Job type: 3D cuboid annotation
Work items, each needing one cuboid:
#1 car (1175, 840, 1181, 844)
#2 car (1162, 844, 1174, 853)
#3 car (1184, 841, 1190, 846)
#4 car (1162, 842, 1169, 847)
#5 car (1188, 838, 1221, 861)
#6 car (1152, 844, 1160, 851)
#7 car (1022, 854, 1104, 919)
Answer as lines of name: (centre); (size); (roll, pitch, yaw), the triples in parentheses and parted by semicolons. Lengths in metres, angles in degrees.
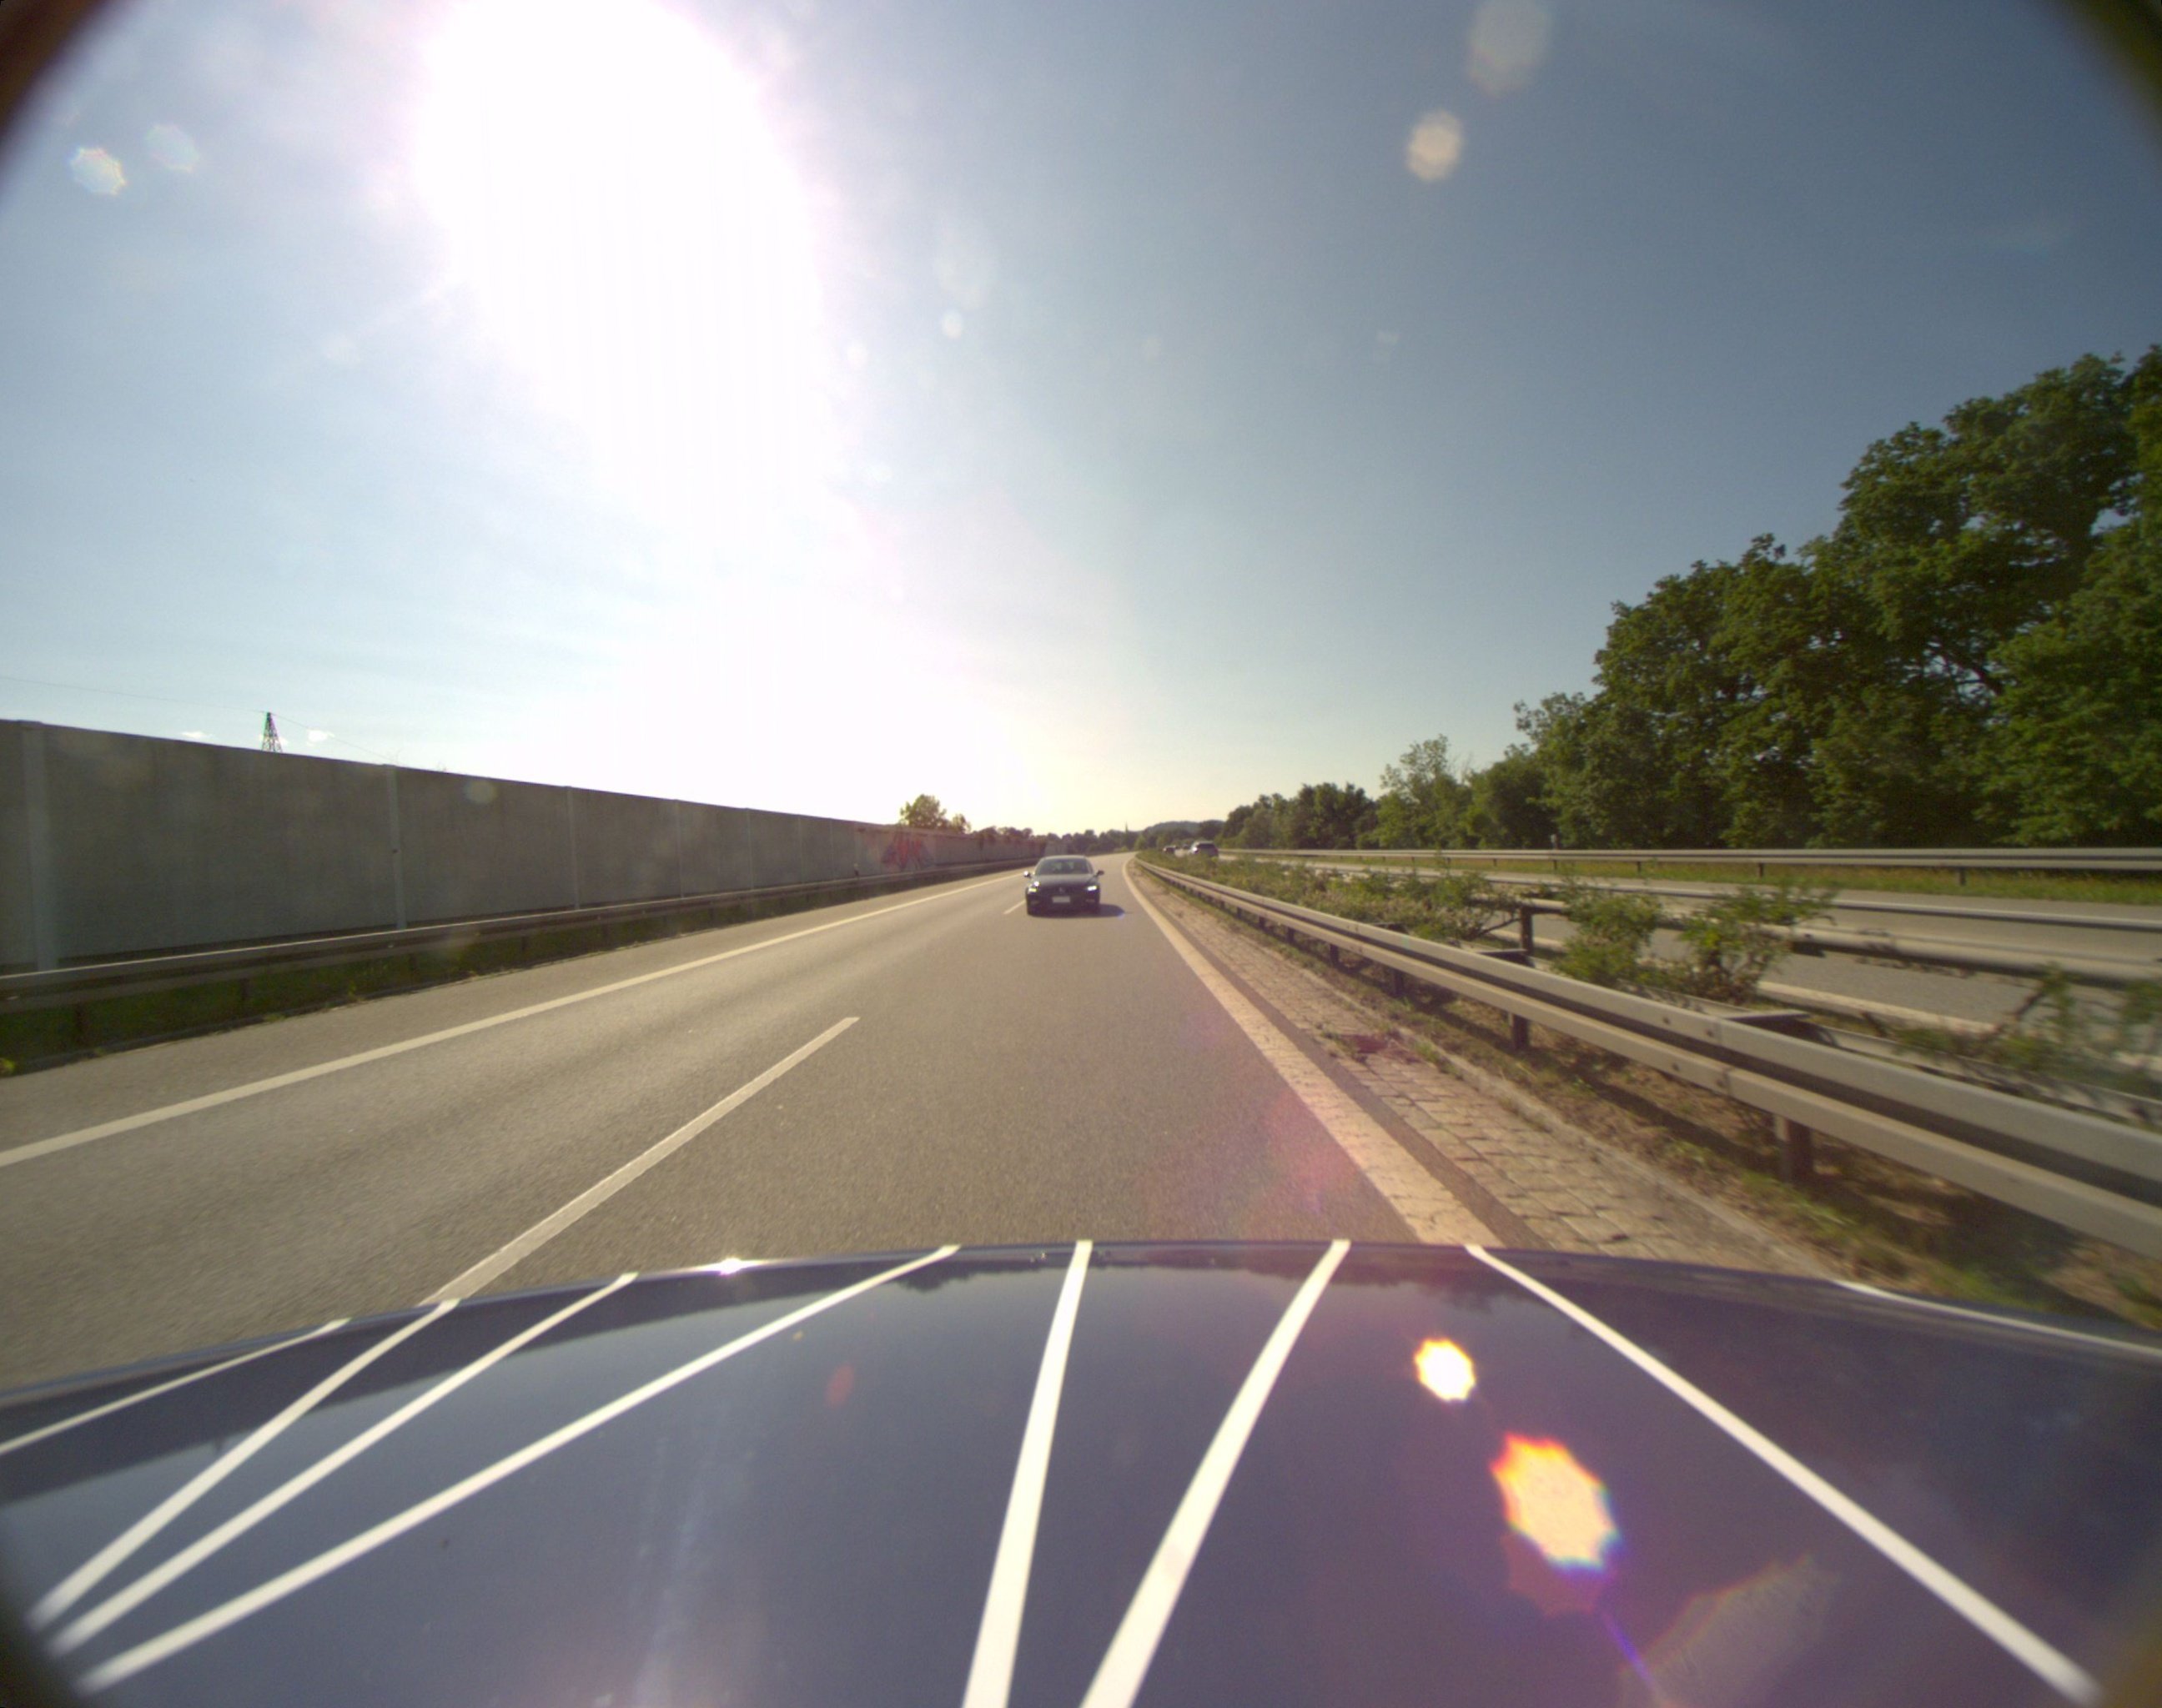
car: (31.431, -3.890, 246.987); (1.777, 1.461, 4.508); (-2, 1, 5)
car: (14.052, -0.918, 122.248); (1.663, 1.442, 4.247); (0, 0, 3)
car: (31.793, -3.191, 227.873); (1.857, 1.625, 4.495); (0, 1, 7)
car: (24.469, -2.842, 220.885); (1.935, 1.496, 4.794); (0, 1, 5)
car: (8.834, -0.332, 54.722); (1.847, 1.597, 4.000); (-1, 1, 2)
car: (17.117, -1.507, 173.580); (1.935, 1.496, 4.794); (0, 1, 5)
car: (-0.357, 0.766, 20.169); (1.722, 1.392, 4.413); (-1, 1, 4)
